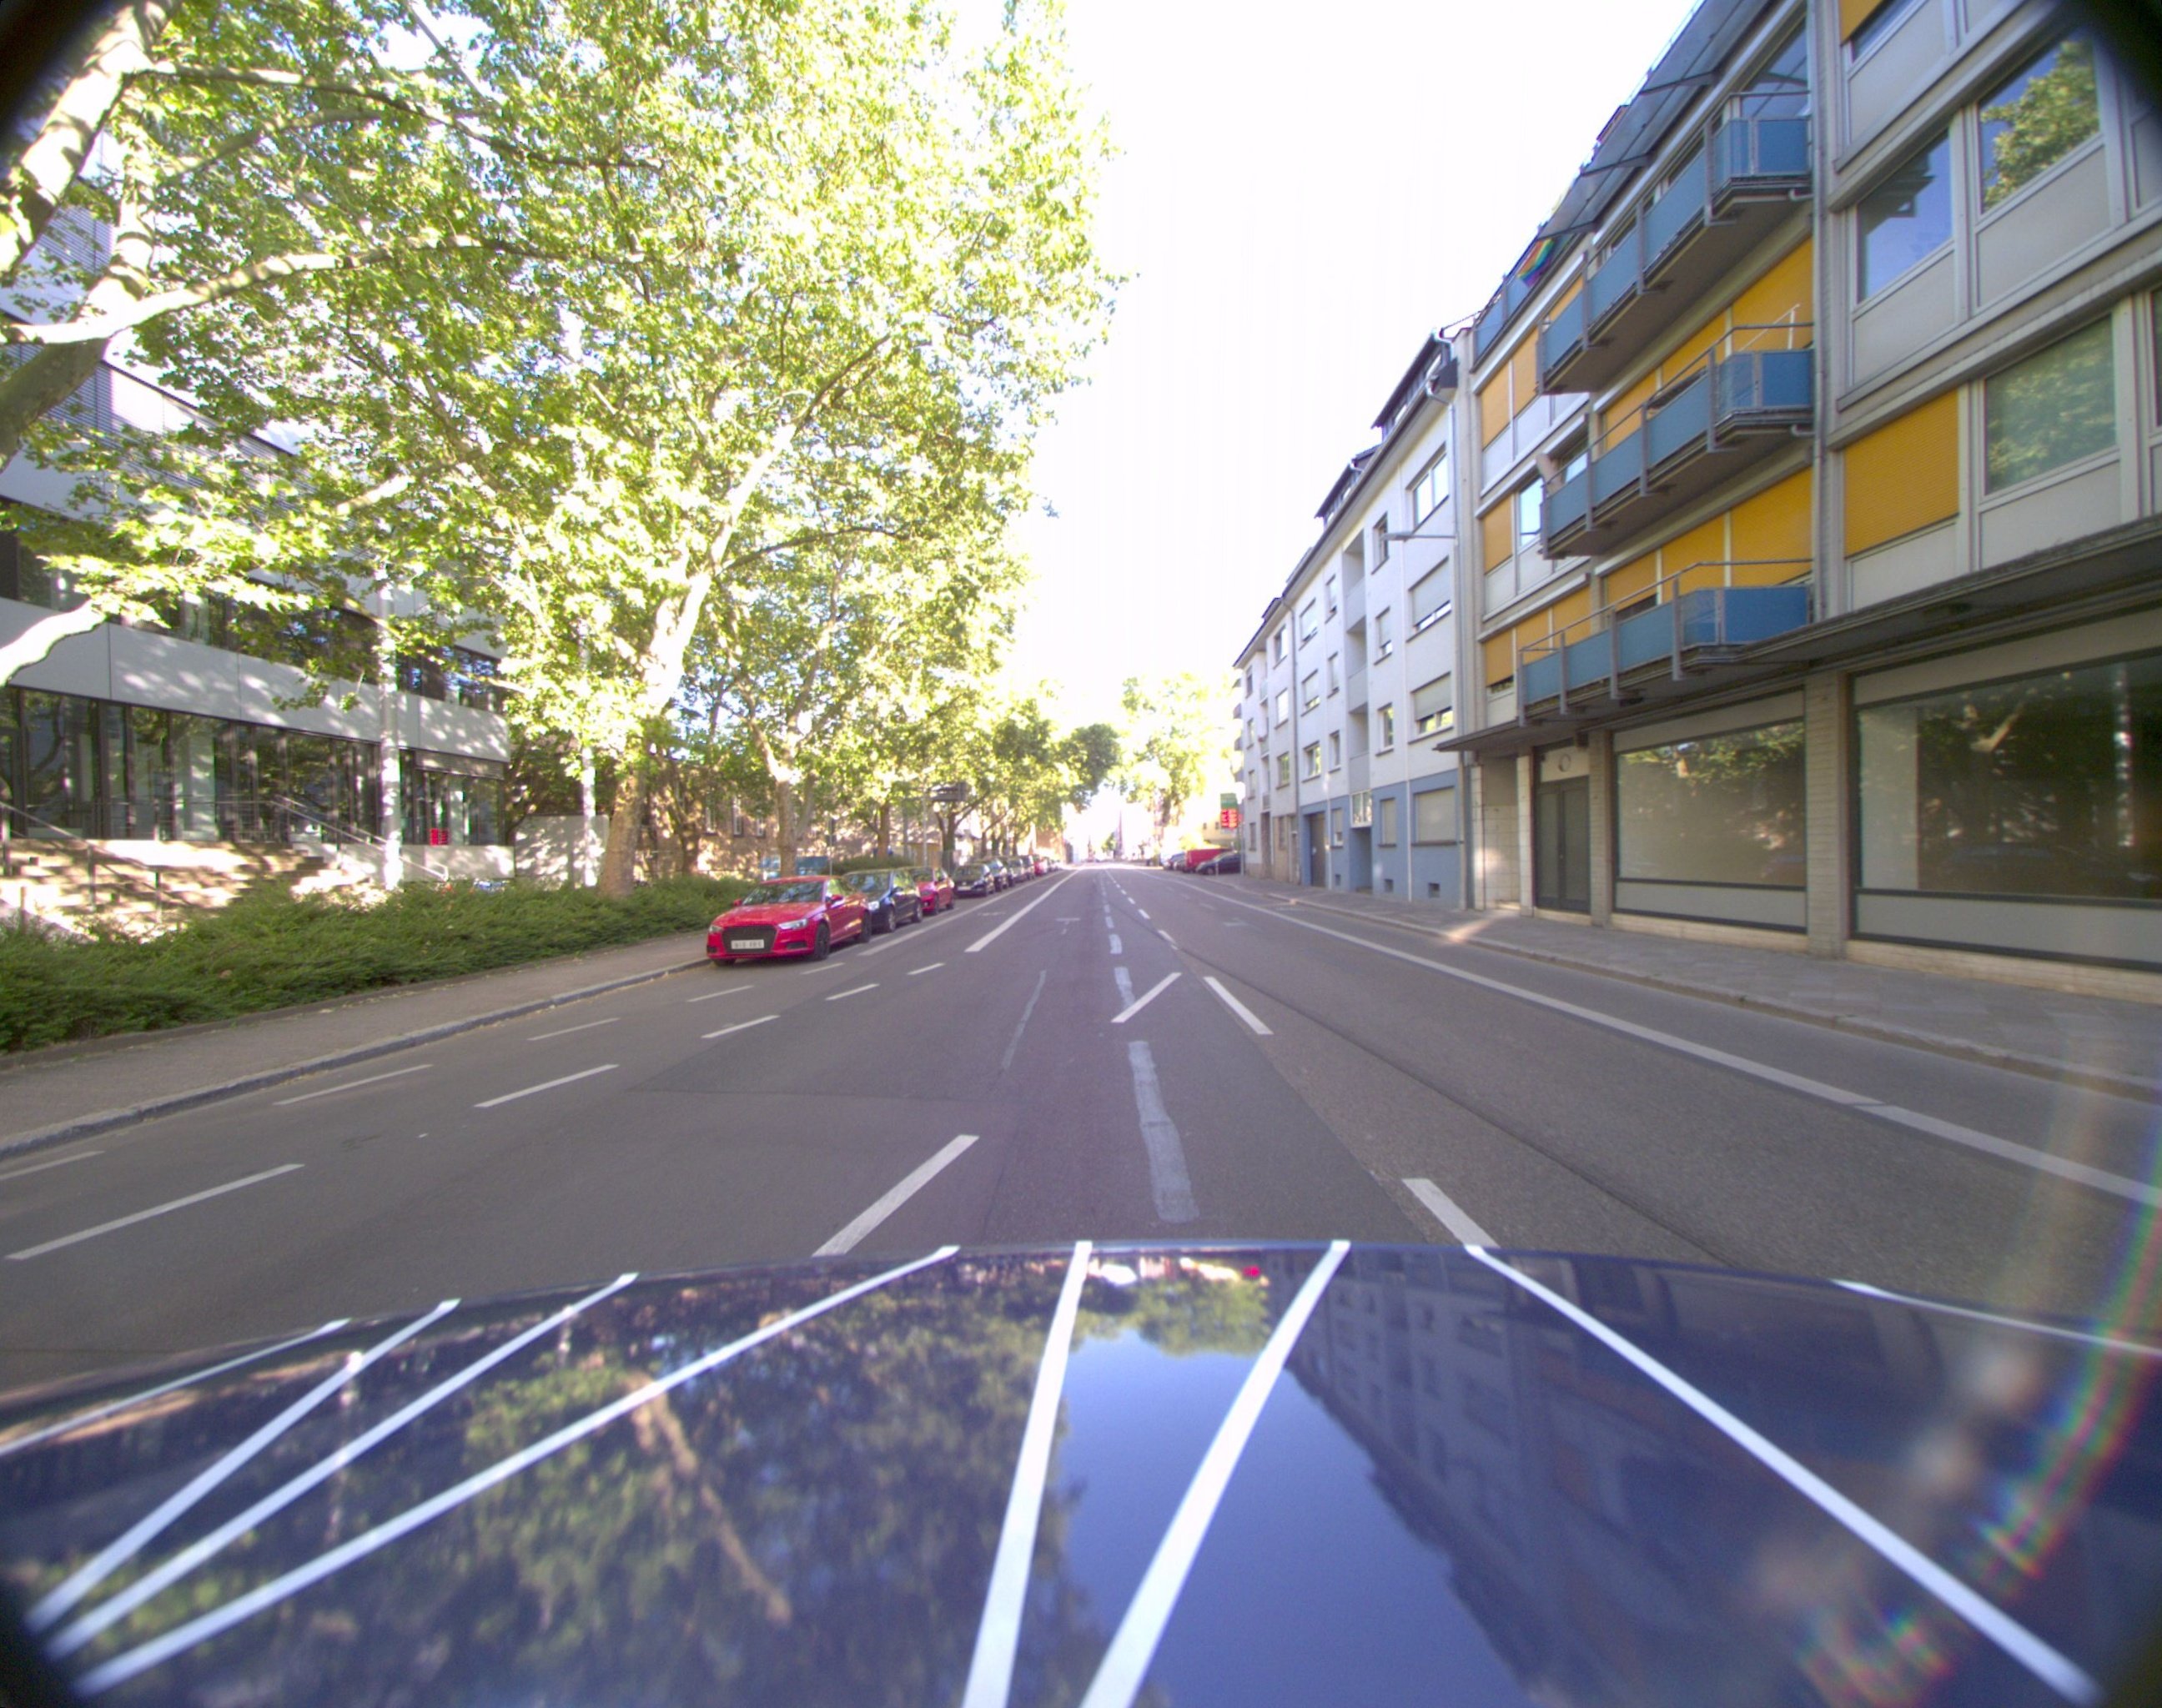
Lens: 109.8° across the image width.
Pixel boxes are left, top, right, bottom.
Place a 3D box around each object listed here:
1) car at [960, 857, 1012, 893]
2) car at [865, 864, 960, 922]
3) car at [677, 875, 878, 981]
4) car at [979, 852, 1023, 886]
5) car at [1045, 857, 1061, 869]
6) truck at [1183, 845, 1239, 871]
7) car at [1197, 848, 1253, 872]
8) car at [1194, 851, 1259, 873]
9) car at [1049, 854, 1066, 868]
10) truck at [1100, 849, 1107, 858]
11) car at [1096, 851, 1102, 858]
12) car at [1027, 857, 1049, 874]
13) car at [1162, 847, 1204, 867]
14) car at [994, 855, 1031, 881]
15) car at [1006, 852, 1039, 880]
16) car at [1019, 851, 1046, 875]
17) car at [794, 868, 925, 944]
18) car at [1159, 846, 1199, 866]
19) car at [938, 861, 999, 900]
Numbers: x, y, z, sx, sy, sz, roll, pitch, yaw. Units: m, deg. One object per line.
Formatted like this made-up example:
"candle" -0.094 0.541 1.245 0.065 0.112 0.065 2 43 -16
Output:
"car" -4.692 0.998 38.143 1.998 1.592 4.142 -2 1 1
"car" -5.134 1.142 23.692 1.998 1.490 3.828 -2 1 1
"car" -5.192 1.190 13.654 1.907 1.417 3.999 -2 1 1
"car" -4.616 0.830 44.533 1.998 1.777 4.572 -2 1 1
"car" -3.360 1.060 92.754 1.693 1.364 3.999 -2 1 1
"truck" 10.277 0.309 60.228 4.092 1.913 2.000 -2 1 0
"car" 10.792 0.439 57.133 3.810 1.563 1.658 -2 1 0
"car" 10.447 0.561 54.801 4.324 1.398 1.658 -2 1 0
"car" -3.199 0.896 103.025 1.998 1.682 3.999 -2 1 1
"truck" 6.848 -0.316 233.840 1.998 2.653 5.314 -2 1 0
"car" 6.133 0.170 259.472 1.998 2.002 3.999 -2 1 1
"car" -4.047 1.072 72.013 1.824 1.466 3.999 -2 1 1
"car" 10.851 0.271 80.931 4.236 1.945 2.000 -2 1 3
"car" -4.532 0.903 50.956 1.998 1.557 4.142 -2 1 1
"car" -4.245 0.836 55.590 1.998 1.838 3.999 -2 1 1
"car" -4.232 0.768 66.428 1.998 1.960 3.999 -2 1 1
"car" -5.178 1.162 18.308 1.998 1.452 3.644 -2 1 1
"car" 10.937 0.204 85.331 4.236 2.025 2.000 -2 1 3
"car" -4.845 1.121 33.195 1.998 1.447 3.589 -2 1 1
